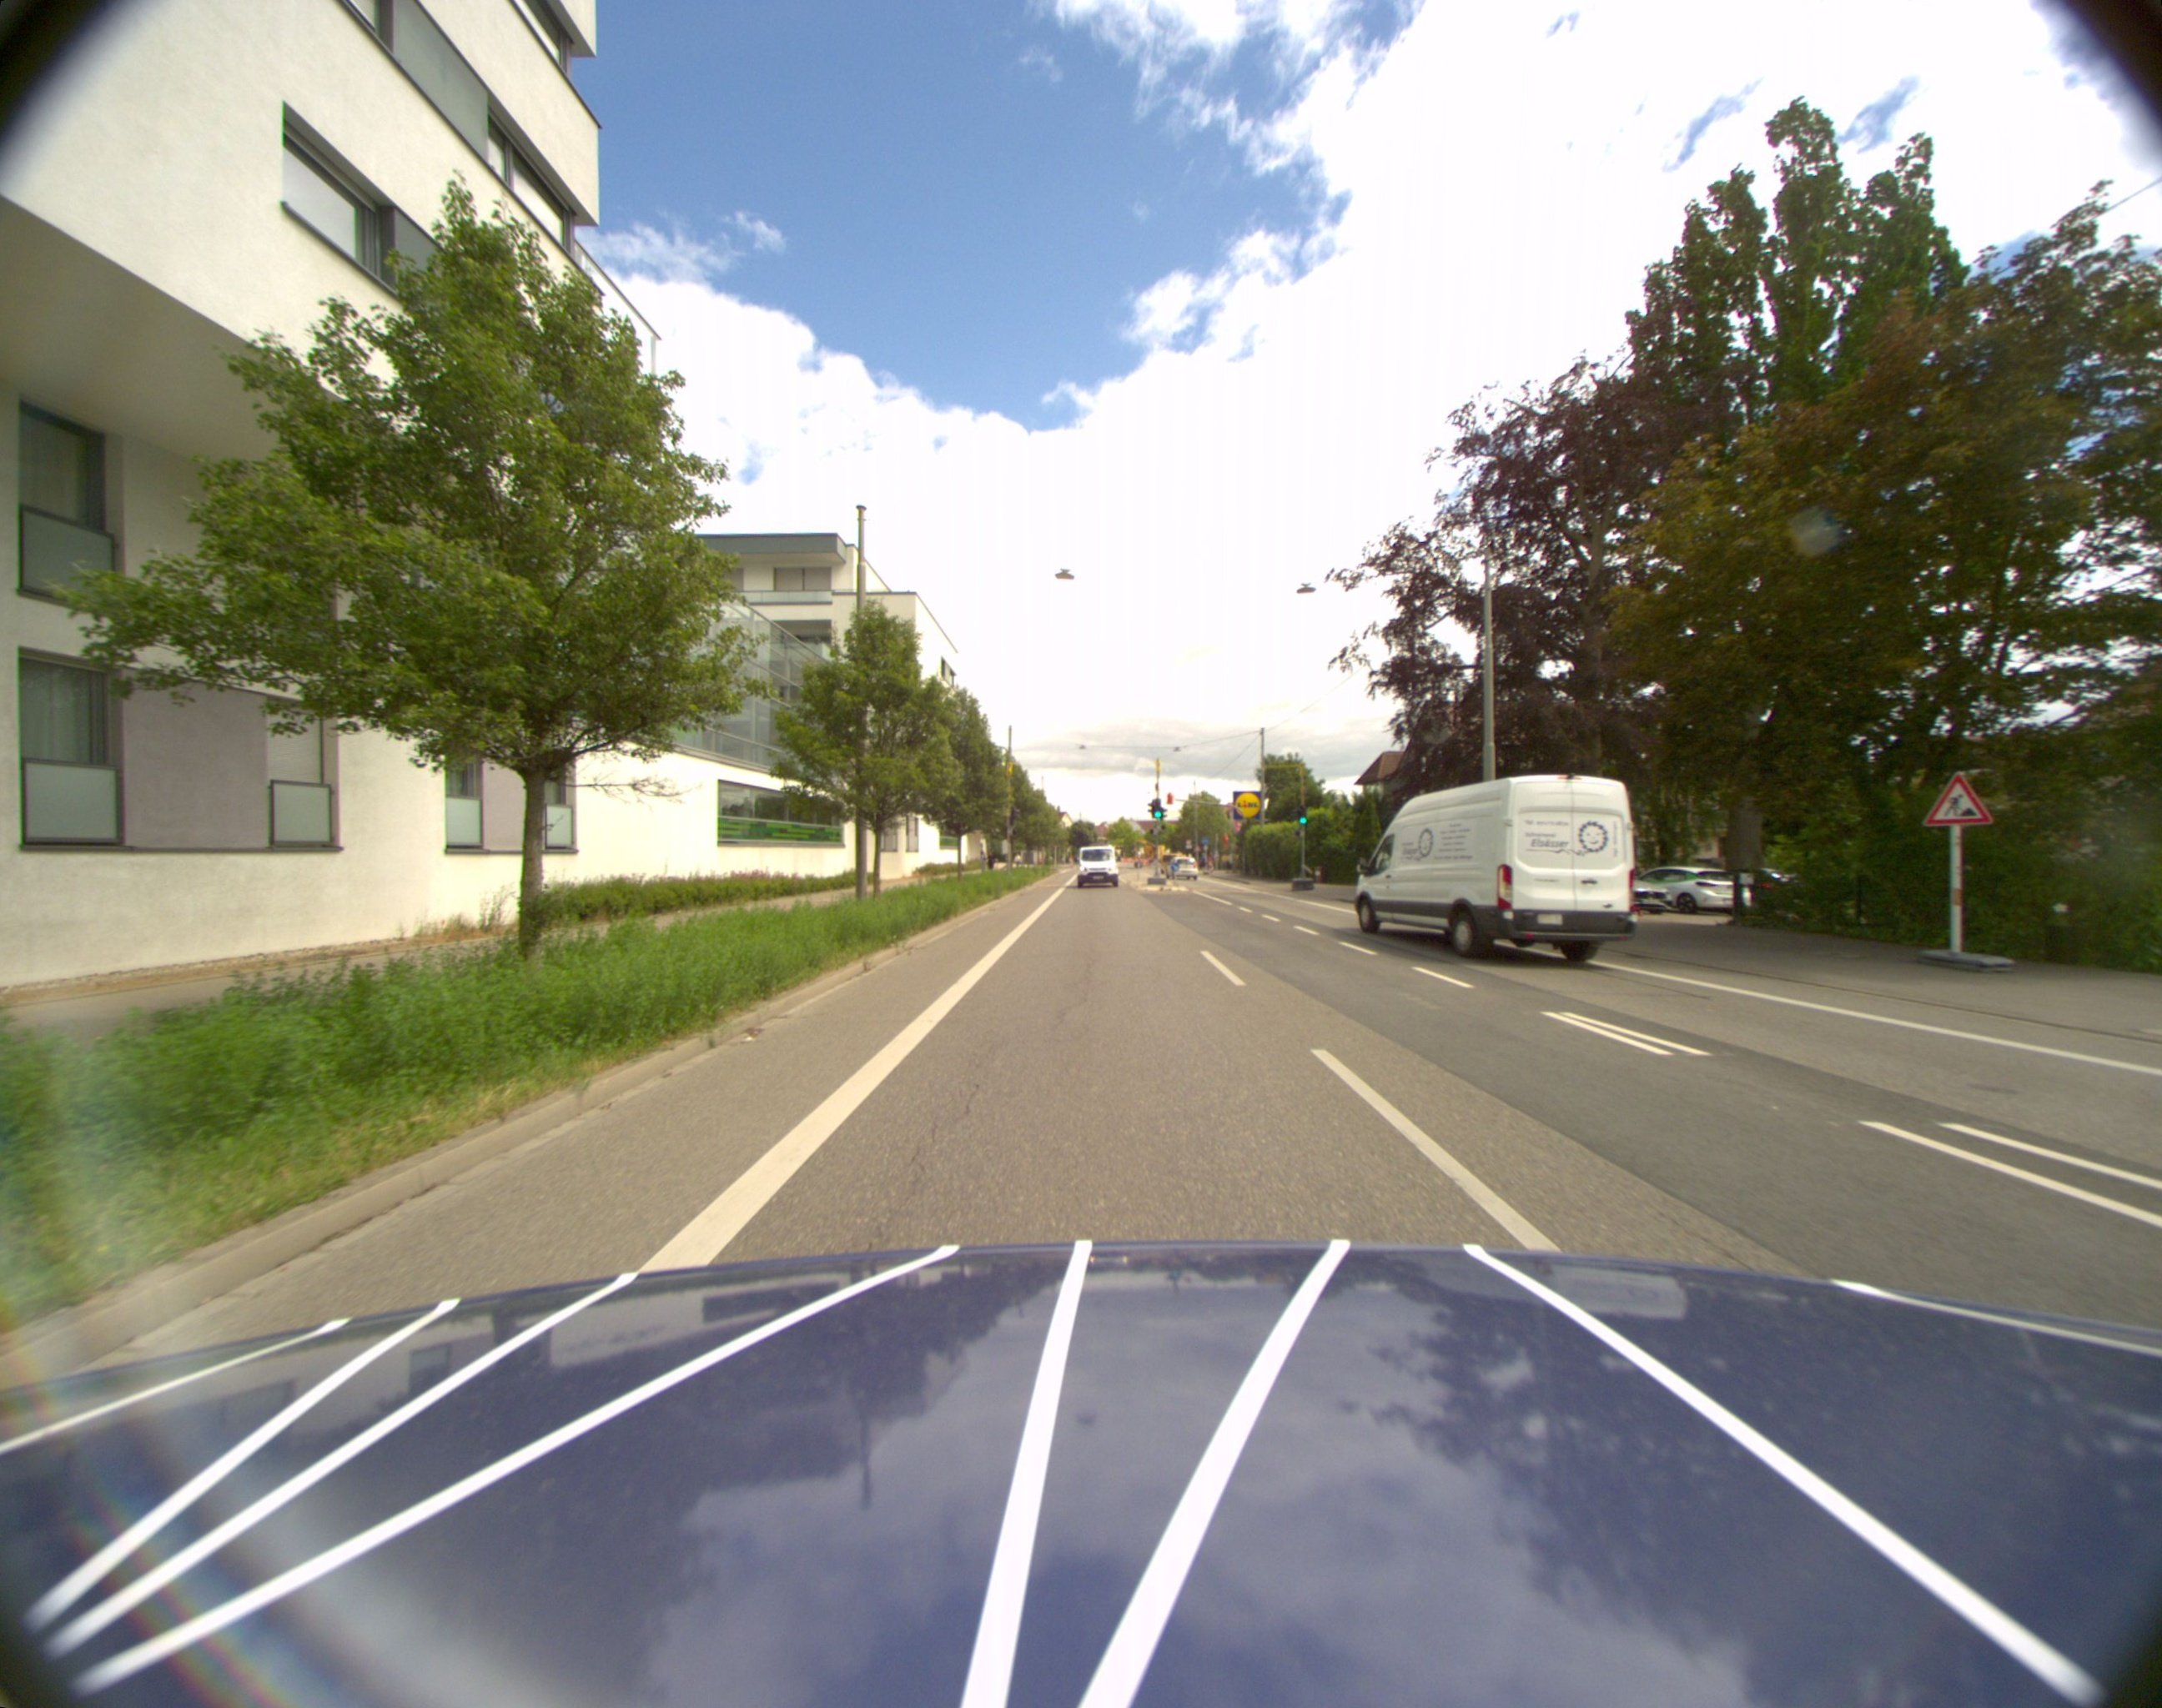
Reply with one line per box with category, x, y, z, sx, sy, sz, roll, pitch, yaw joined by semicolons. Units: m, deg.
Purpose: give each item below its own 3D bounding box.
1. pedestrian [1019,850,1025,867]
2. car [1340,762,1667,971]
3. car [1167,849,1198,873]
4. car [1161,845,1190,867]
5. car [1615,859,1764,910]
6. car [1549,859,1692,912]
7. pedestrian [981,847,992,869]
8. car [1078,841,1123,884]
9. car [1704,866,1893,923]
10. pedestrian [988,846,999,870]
pedestrian;-5.825;0.463;74.966;0.559;1.649;0.607;-2;2;0
car;6.834;0.164;13.465;2.149;2.803;6.146;2;0;-2
car;6.785;0.450;50.972;1.611;1.510;3.239;2;1;0
car;8.495;0.172;68.157;1.996;1.774;4.003;-2;1;14
car;19.178;0.909;24.162;1.743;1.380;3.521;1;1;-4
car;16.475;0.902;23.426;1.666;1.380;3.521;2;1;-5
pedestrian;-7.782;0.327;62.442;0.621;1.830;0.588;-3;2;-26
car;0.907;0.346;36.687;1.998;1.906;3.999;-1;1;1
car;21.523;1.152;23.050;1.806;1.382;3.929;2;1;-4
pedestrian;-7.150;0.304;62.013;0.742;1.876;0.701;-2;2;-2
